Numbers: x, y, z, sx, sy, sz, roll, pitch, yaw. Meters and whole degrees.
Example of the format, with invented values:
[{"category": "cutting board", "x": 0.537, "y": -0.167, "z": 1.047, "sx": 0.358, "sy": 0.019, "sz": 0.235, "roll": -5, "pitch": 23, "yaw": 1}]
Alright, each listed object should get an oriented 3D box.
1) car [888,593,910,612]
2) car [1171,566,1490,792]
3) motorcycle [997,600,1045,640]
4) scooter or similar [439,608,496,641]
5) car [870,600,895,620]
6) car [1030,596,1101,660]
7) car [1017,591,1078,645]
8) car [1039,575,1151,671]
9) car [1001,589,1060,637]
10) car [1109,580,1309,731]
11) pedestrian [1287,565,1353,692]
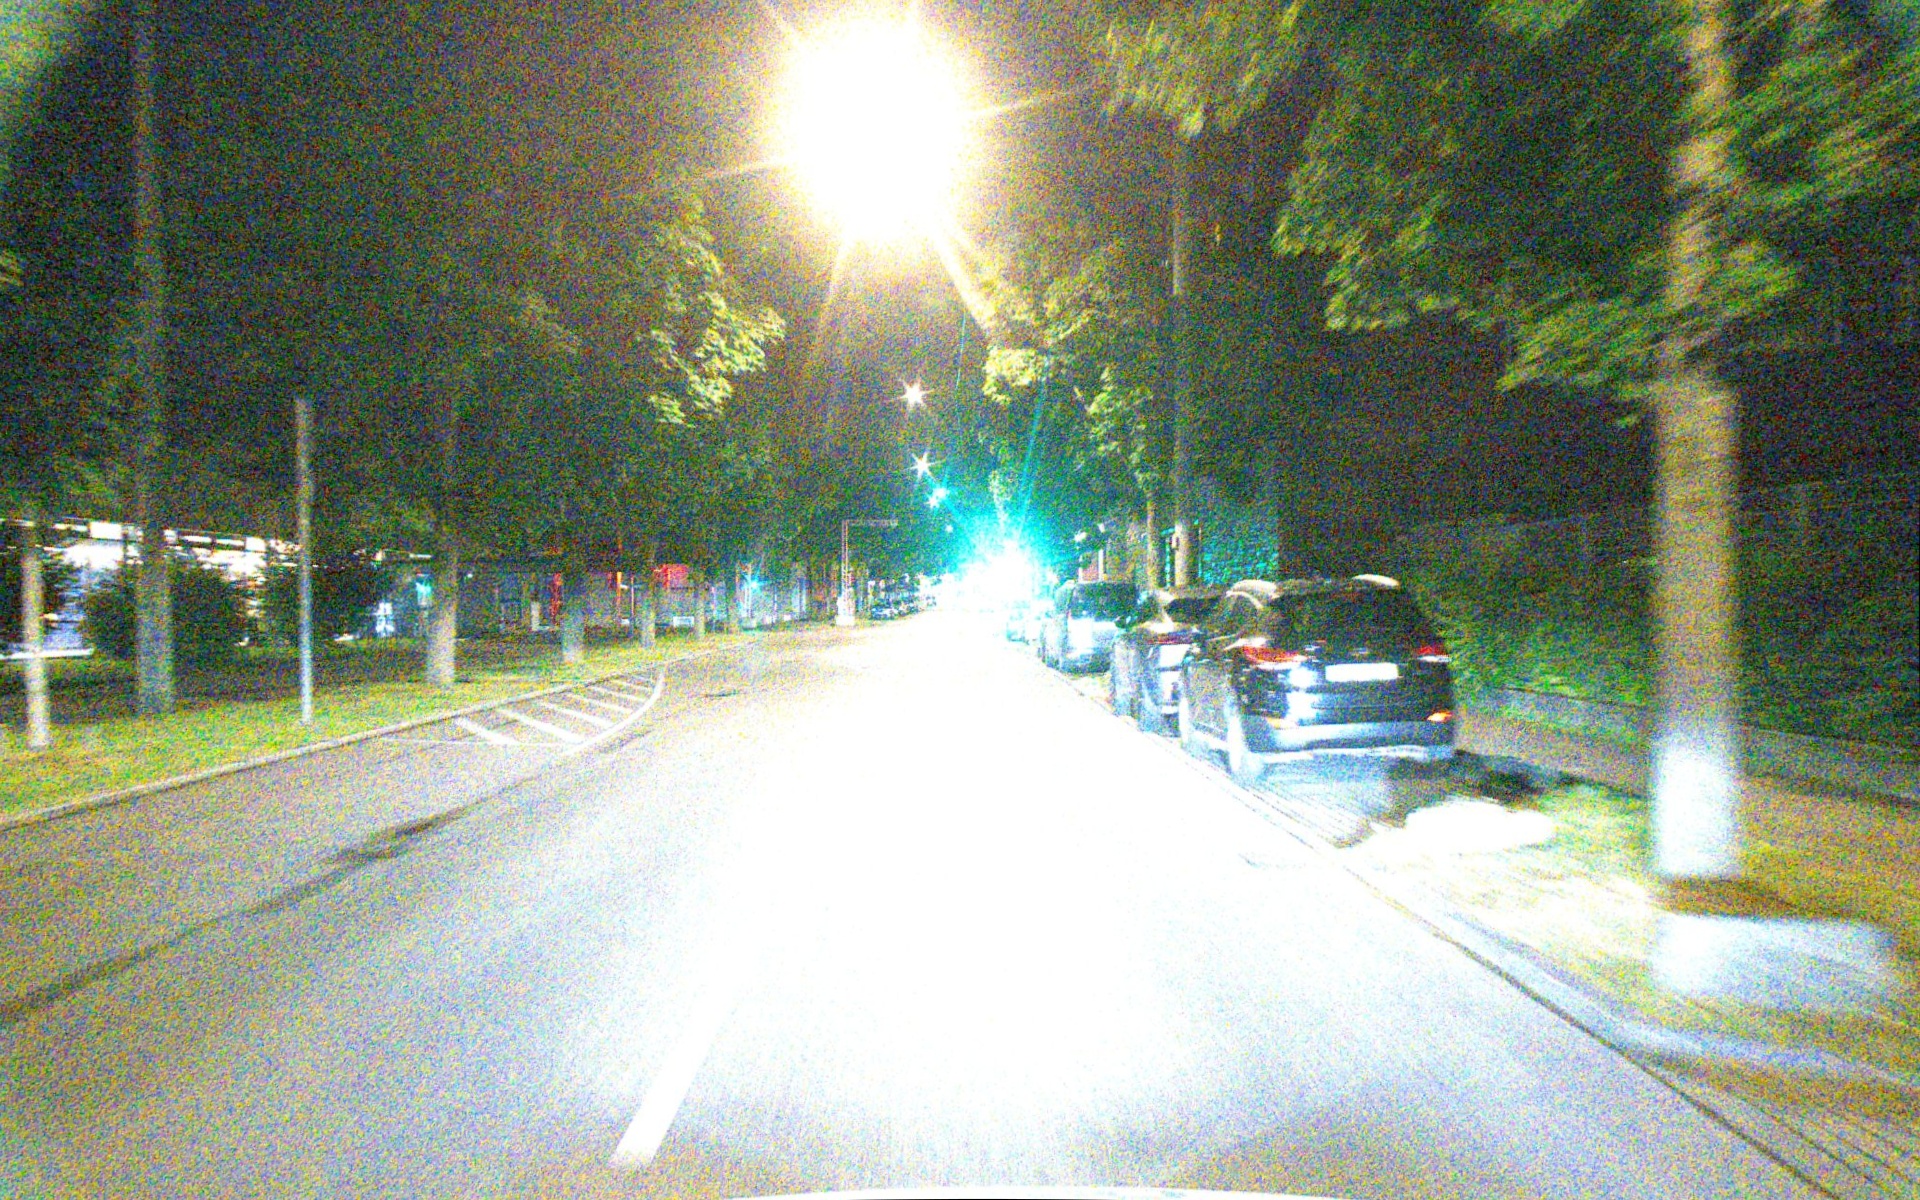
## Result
[{"category": "car", "x": -5.067, "y": 0.168, "z": 137.832, "sx": 1.705, "sy": 1.440, "sz": 3.752, "roll": 0, "pitch": 2, "yaw": 0}, {"category": "car", "x": 3.153, "y": 0.605, "z": 14.976, "sx": 1.816, "sy": 1.682, "sz": 4.208, "roll": -2, "pitch": 0, "yaw": -1}, {"category": "motorcycle", "x": 2.035, "y": 0.664, "z": 55.260, "sx": 0.625, "sy": 1.292, "sz": 2.058, "roll": 0, "pitch": 0, "yaw": 34}, {"category": "scooter or similar", "x": -16.068, "y": 0.791, "z": 53.966, "sx": 1.639, "sy": 1.025, "sz": 0.544, "roll": 2, "pitch": 0, "yaw": 1}, {"category": "car", "x": -5.700, "y": 0.736, "z": 122.584, "sx": 1.705, "sy": 1.440, "sz": 3.751, "roll": 0, "pitch": 0, "yaw": 0}, {"category": "car", "x": 2.556, "y": 0.649, "z": 40.719, "sx": 1.489, "sy": 1.420, "sz": 3.984, "roll": -2, "pitch": 0, "yaw": 0}, {"category": "car", "x": 2.705, "y": 0.530, "z": 51.884, "sx": 1.559, "sy": 1.561, "sz": 4.137, "roll": -2, "pitch": 0, "yaw": -1}, {"category": "car", "x": 2.783, "y": 0.449, "z": 34.995, "sx": 1.736, "sy": 1.838, "sz": 4.275, "roll": -2, "pitch": 0, "yaw": -3}, {"category": "car", "x": 2.492, "y": 0.433, "z": 59.302, "sx": 1.815, "sy": 1.618, "sz": 4.299, "roll": -1, "pitch": 0, "yaw": -1}, {"category": "car", "x": 2.959, "y": 0.622, "z": 20.509, "sx": 1.815, "sy": 1.632, "sz": 4.209, "roll": 1, "pitch": 0, "yaw": 0}, {"category": "pedestrian", "x": 5.121, "y": 0.399, "z": 23.555, "sx": 0.691, "sy": 1.752, "sz": 0.821, "roll": -2, "pitch": 0, "yaw": -1}]
